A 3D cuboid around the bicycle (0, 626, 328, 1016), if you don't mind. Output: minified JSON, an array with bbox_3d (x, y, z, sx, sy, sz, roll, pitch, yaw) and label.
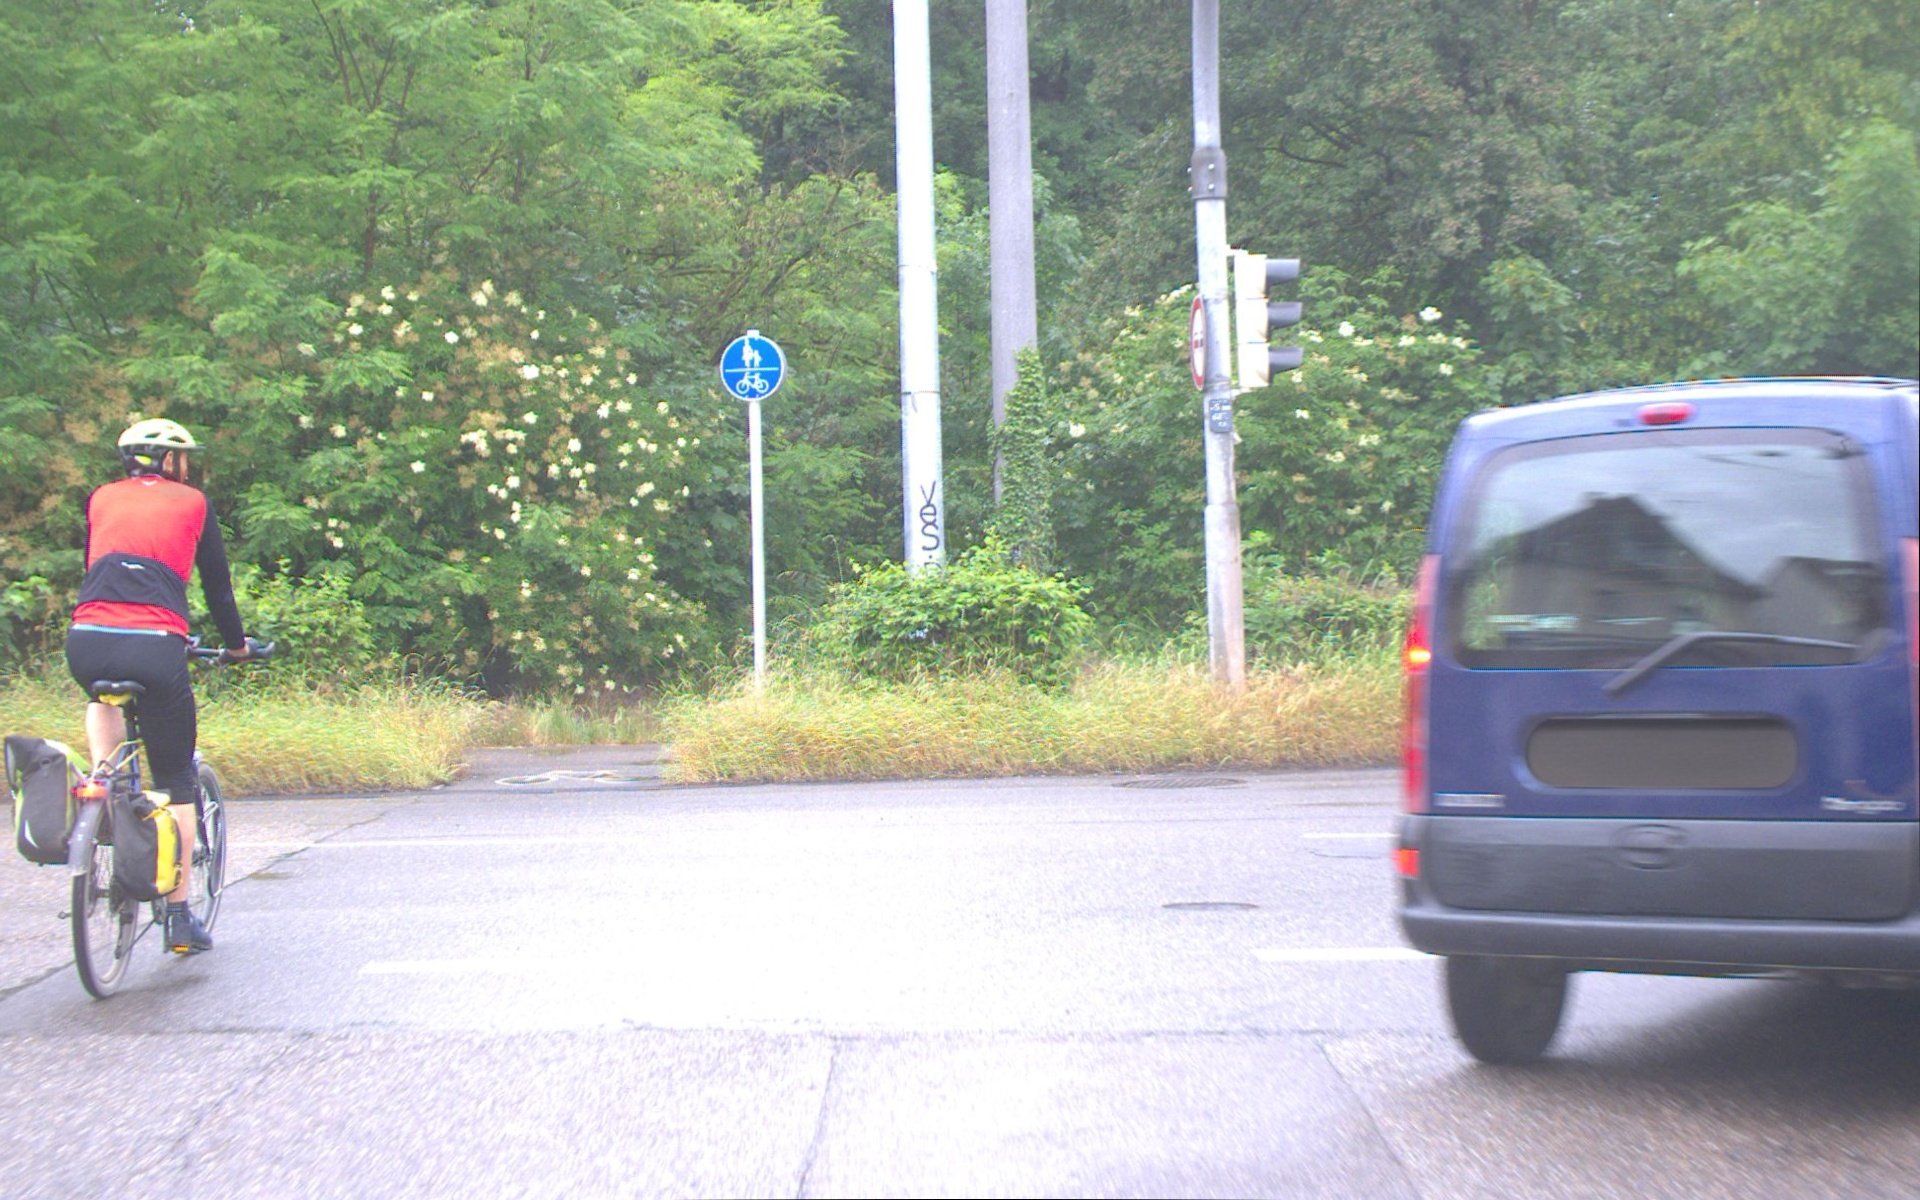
[{"bbox_3d":[-2.675,0.676,11.458,0.578,1.092,2.154,0,2,4],"label":"bicycle"}]

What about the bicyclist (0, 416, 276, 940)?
[{"bbox_3d":[-2.690,0.232,11.337,0.578,1.647,1.048,0,2,4],"label":"bicyclist"}]

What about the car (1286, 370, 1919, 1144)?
[{"bbox_3d":[2.683,0.329,10.026,1.812,1.791,3.993,-1,1,32],"label":"car"}]
